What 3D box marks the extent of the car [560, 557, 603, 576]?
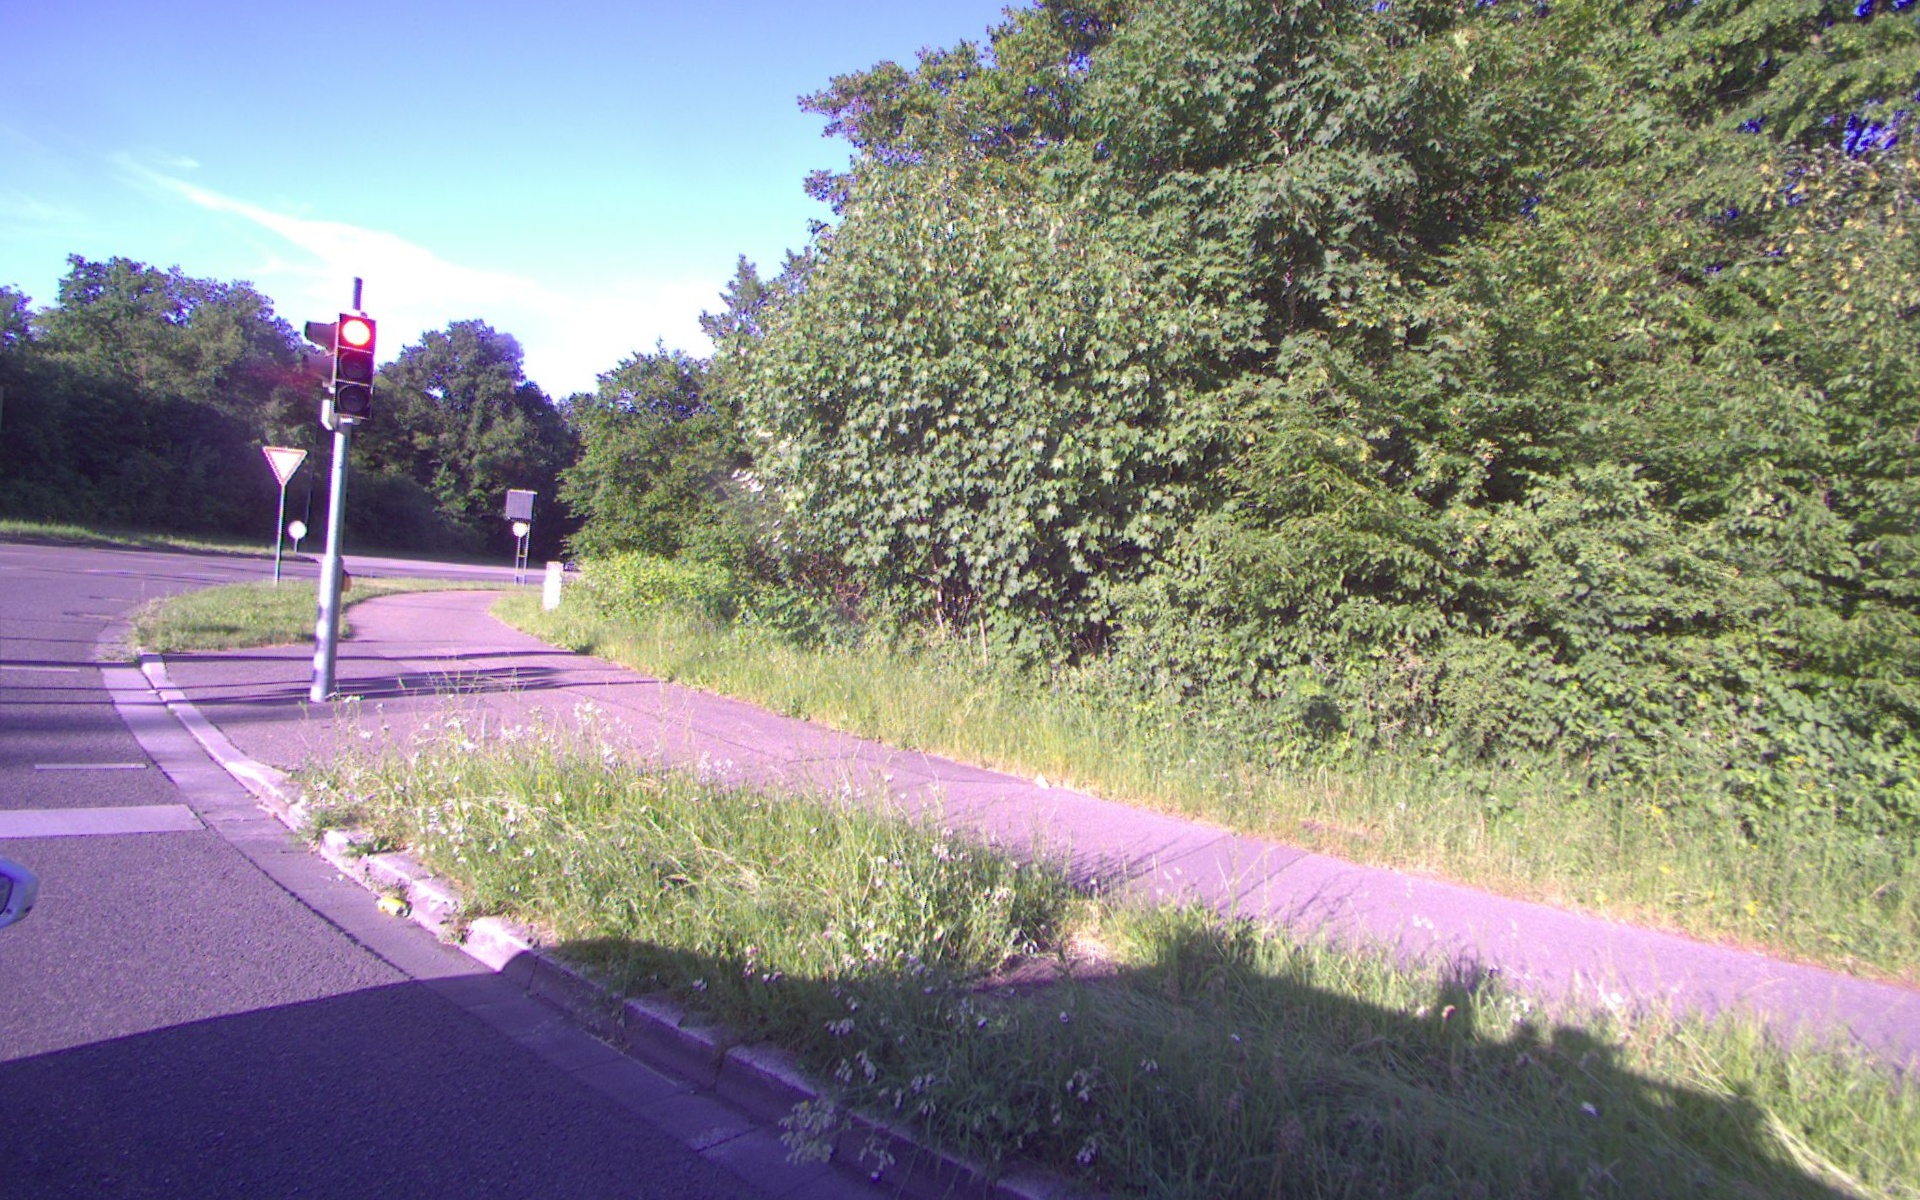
[{"bbox_3d":[-35.291,-3.108,94.001,1.962,1.454,4.807,6,0,1],"label":"car"}]
